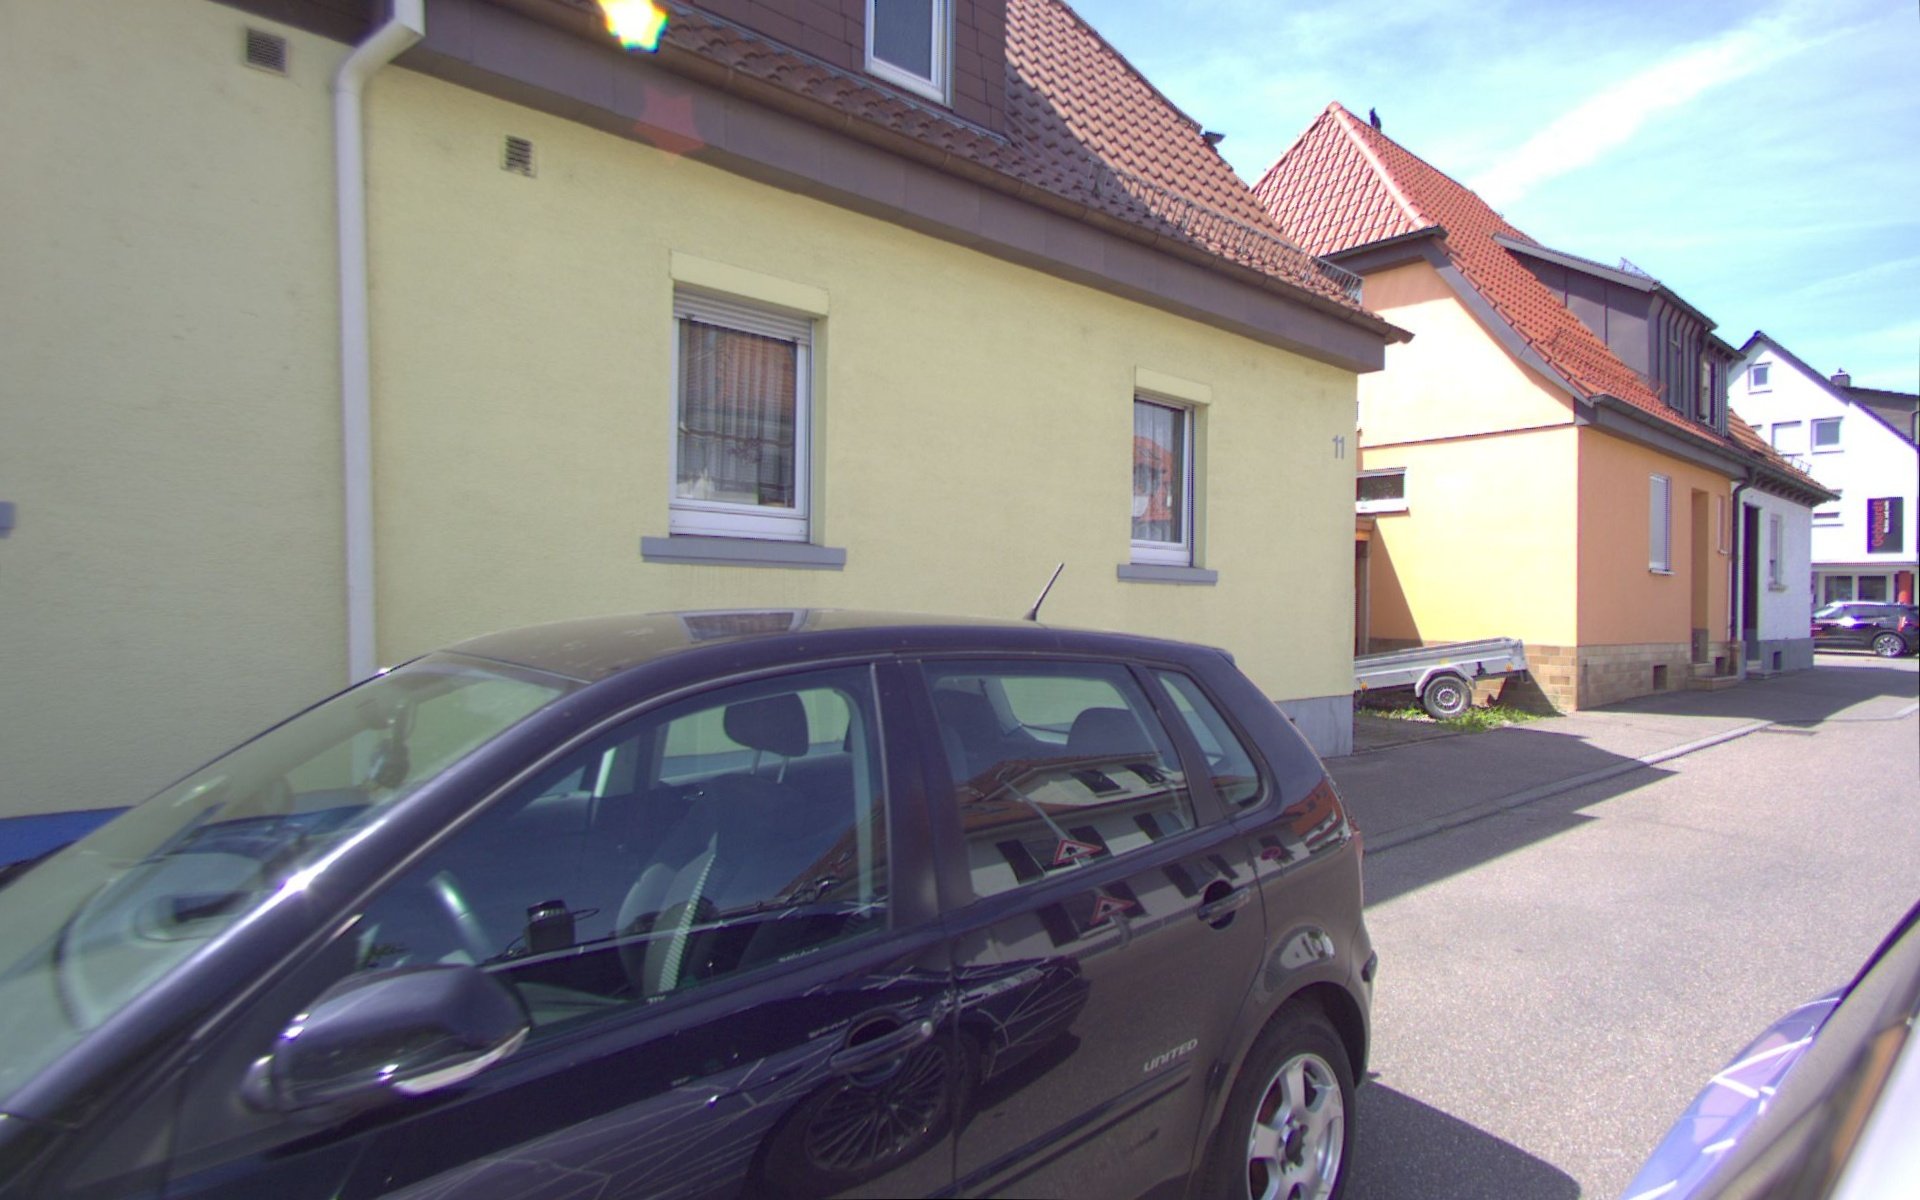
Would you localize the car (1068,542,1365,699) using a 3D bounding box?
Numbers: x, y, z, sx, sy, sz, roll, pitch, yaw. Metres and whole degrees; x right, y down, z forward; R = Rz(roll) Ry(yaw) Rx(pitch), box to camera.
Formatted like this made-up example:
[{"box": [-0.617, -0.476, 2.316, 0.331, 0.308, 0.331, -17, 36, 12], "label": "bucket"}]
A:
[{"box": [3.823, 0.277, 15.698, 1.803, 2.097, 4.219, 0, 0, -40], "label": "car"}]

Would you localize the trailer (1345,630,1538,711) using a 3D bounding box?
[{"box": [6.116, 0.870, 13.047, 2.115, 0.911, 1.234, 0, 0, 21], "label": "trailer"}]

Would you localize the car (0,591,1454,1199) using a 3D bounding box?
[{"box": [-0.644, 0.724, 2.010, 3.688, 1.449, 1.613, 0, -1, -41], "label": "car"}]

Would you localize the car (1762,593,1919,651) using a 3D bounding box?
[{"box": [27.923, 0.658, 31.460, 1.811, 1.674, 4.310, 0, -1, -31], "label": "car"}]
